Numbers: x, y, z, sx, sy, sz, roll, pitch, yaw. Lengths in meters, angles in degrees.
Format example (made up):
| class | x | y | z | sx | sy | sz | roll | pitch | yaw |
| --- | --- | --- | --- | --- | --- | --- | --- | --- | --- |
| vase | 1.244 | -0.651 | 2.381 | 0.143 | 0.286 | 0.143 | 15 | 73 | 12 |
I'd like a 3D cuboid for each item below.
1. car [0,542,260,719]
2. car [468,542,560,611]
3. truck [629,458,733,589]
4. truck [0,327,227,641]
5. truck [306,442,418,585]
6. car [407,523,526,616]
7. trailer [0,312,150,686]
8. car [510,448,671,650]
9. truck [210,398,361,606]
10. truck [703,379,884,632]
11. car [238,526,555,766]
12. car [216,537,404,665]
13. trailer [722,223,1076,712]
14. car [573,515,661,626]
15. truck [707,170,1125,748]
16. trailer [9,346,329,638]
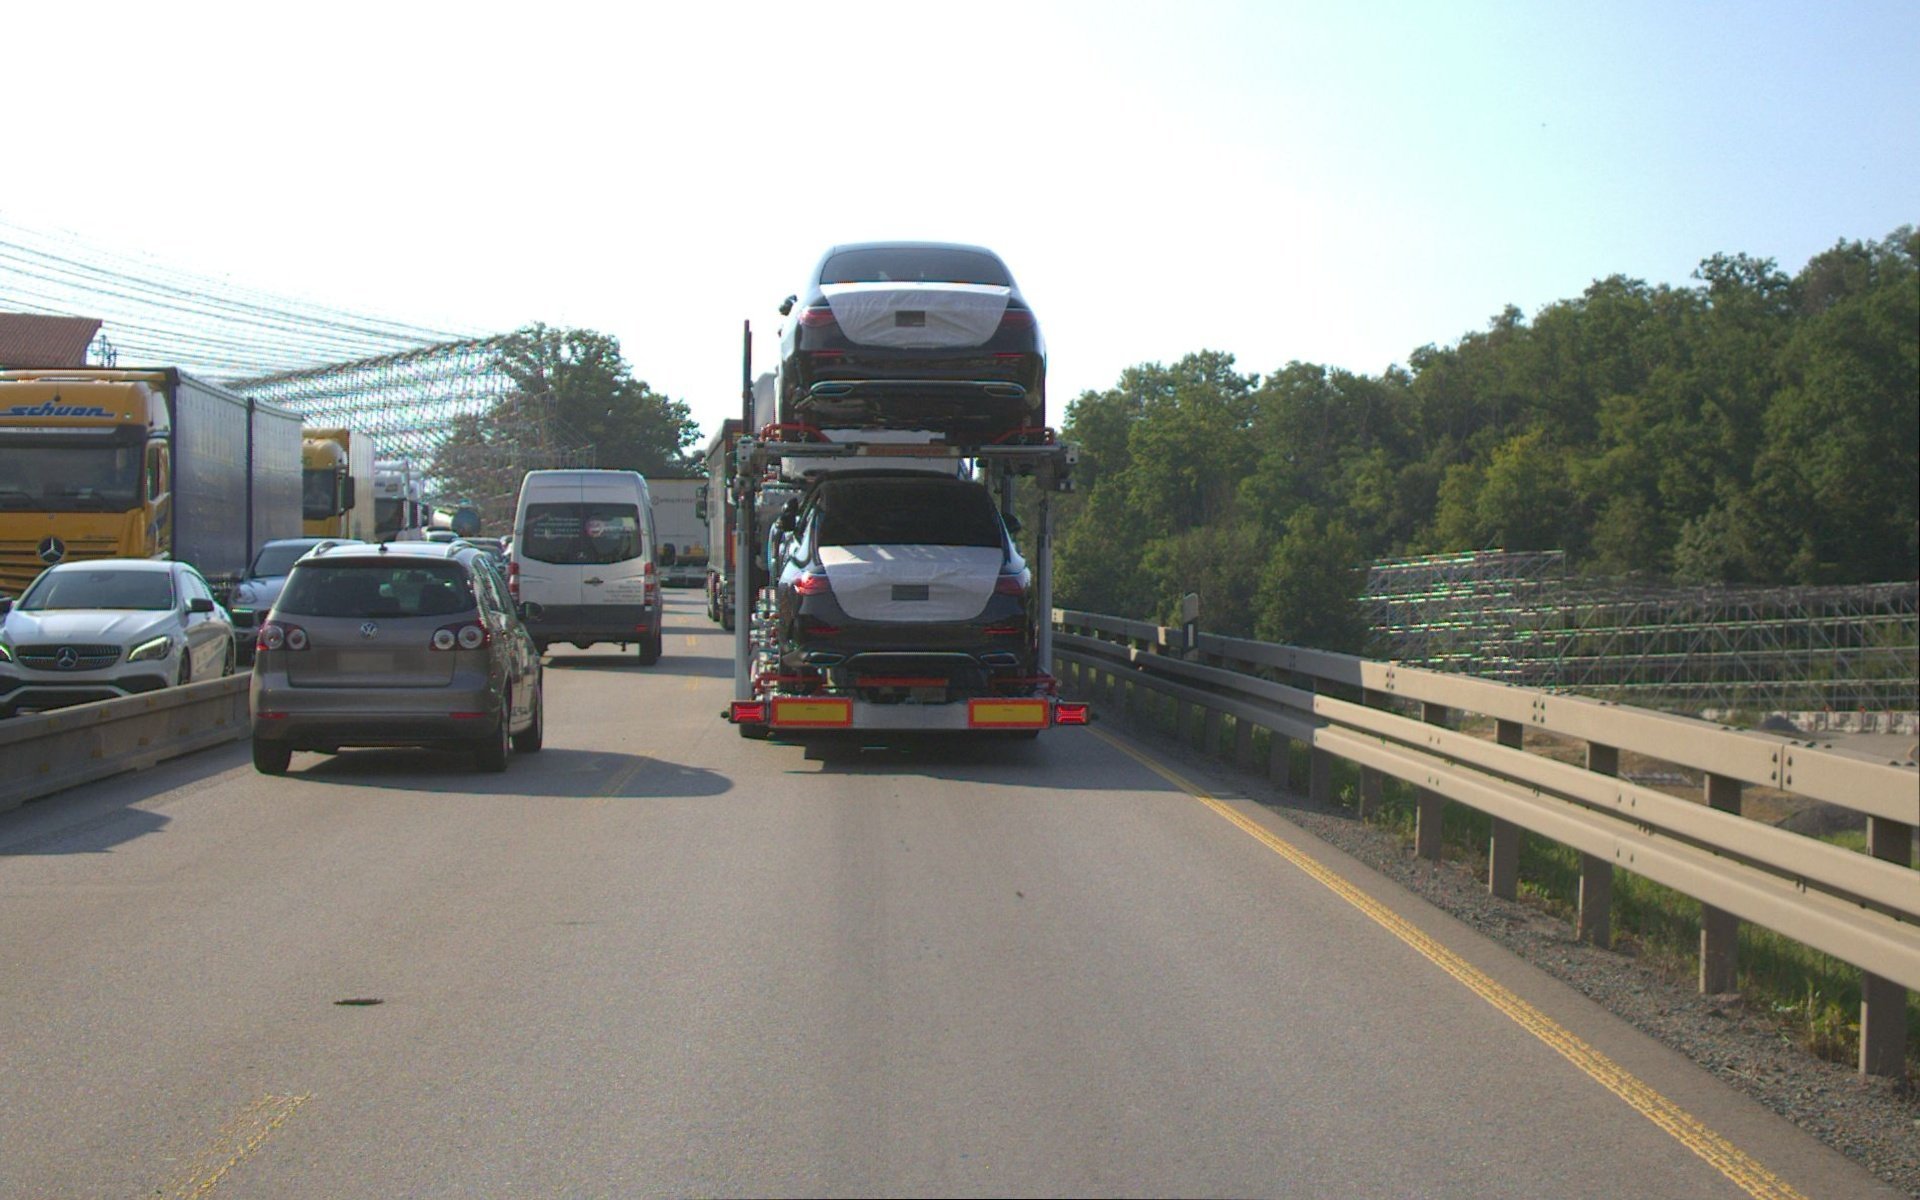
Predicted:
| class | x | y | z | sx | sy | sz | roll | pitch | yaw |
| --- | --- | --- | --- | --- | --- | --- | --- | --- | --- |
| car | -7.935 | 0.260 | 32.392 | 1.803 | 1.516 | 4.817 | -1 | 0 | -2 |
| car | -9.981 | -0.515 | 77.179 | 1.788 | 1.492 | 4.725 | 0 | 0 | -4 |
| truck | -10.534 | -2.889 | 128.739 | 3.647 | 4.661 | 11.698 | 0 | 1 | -6 |
| truck | -12.014 | -1.526 | 48.103 | 2.701 | 4.126 | 5.795 | 0 | 0 | -4 |
| truck | -17.919 | -2.473 | 103.722 | 2.808 | 3.956 | 13.896 | 0 | 0 | -8 |
| car | -9.368 | -0.565 | 65.559 | 1.926 | 1.696 | 4.692 | 0 | 0 | -4 |
| trailer | -11.120 | -1.010 | 34.861 | 2.748 | 3.803 | 16.049 | -1 | 1 | -3 |
| car | -5.072 | -0.673 | 47.634 | 1.979 | 2.675 | 4.147 | 0 | 0 | -3 |
| truck | -13.960 | -1.967 | 71.396 | 2.693 | 4.182 | 4.399 | 0 | 0 | -6 |
| truck | -3.525 | -1.900 | 69.638 | 3.227 | 4.661 | 11.698 | 0 | 1 | -5 |
| car | -3.960 | 0.301 | 24.753 | 1.700 | 1.581 | 4.147 | 0 | 0 | -1 |
| car | -8.764 | 0.010 | 46.709 | 1.959 | 1.639 | 4.849 | 0 | 0 | -4 |
| trailer | -0.782 | -1.082 | 35.660 | 2.874 | 3.980 | 15.280 | 0 | 0 | -2 |
| car | -6.566 | -0.541 | 66.107 | 1.528 | 2.007 | 4.001 | 2 | 0 | -5 |
| truck | -0.409 | -0.972 | 26.522 | 2.869 | 3.966 | 5.772 | 0 | 0 | -2 |
| trailer | -12.727 | -1.535 | 57.037 | 2.714 | 4.120 | 16.754 | 0 | 0 | -4 |
